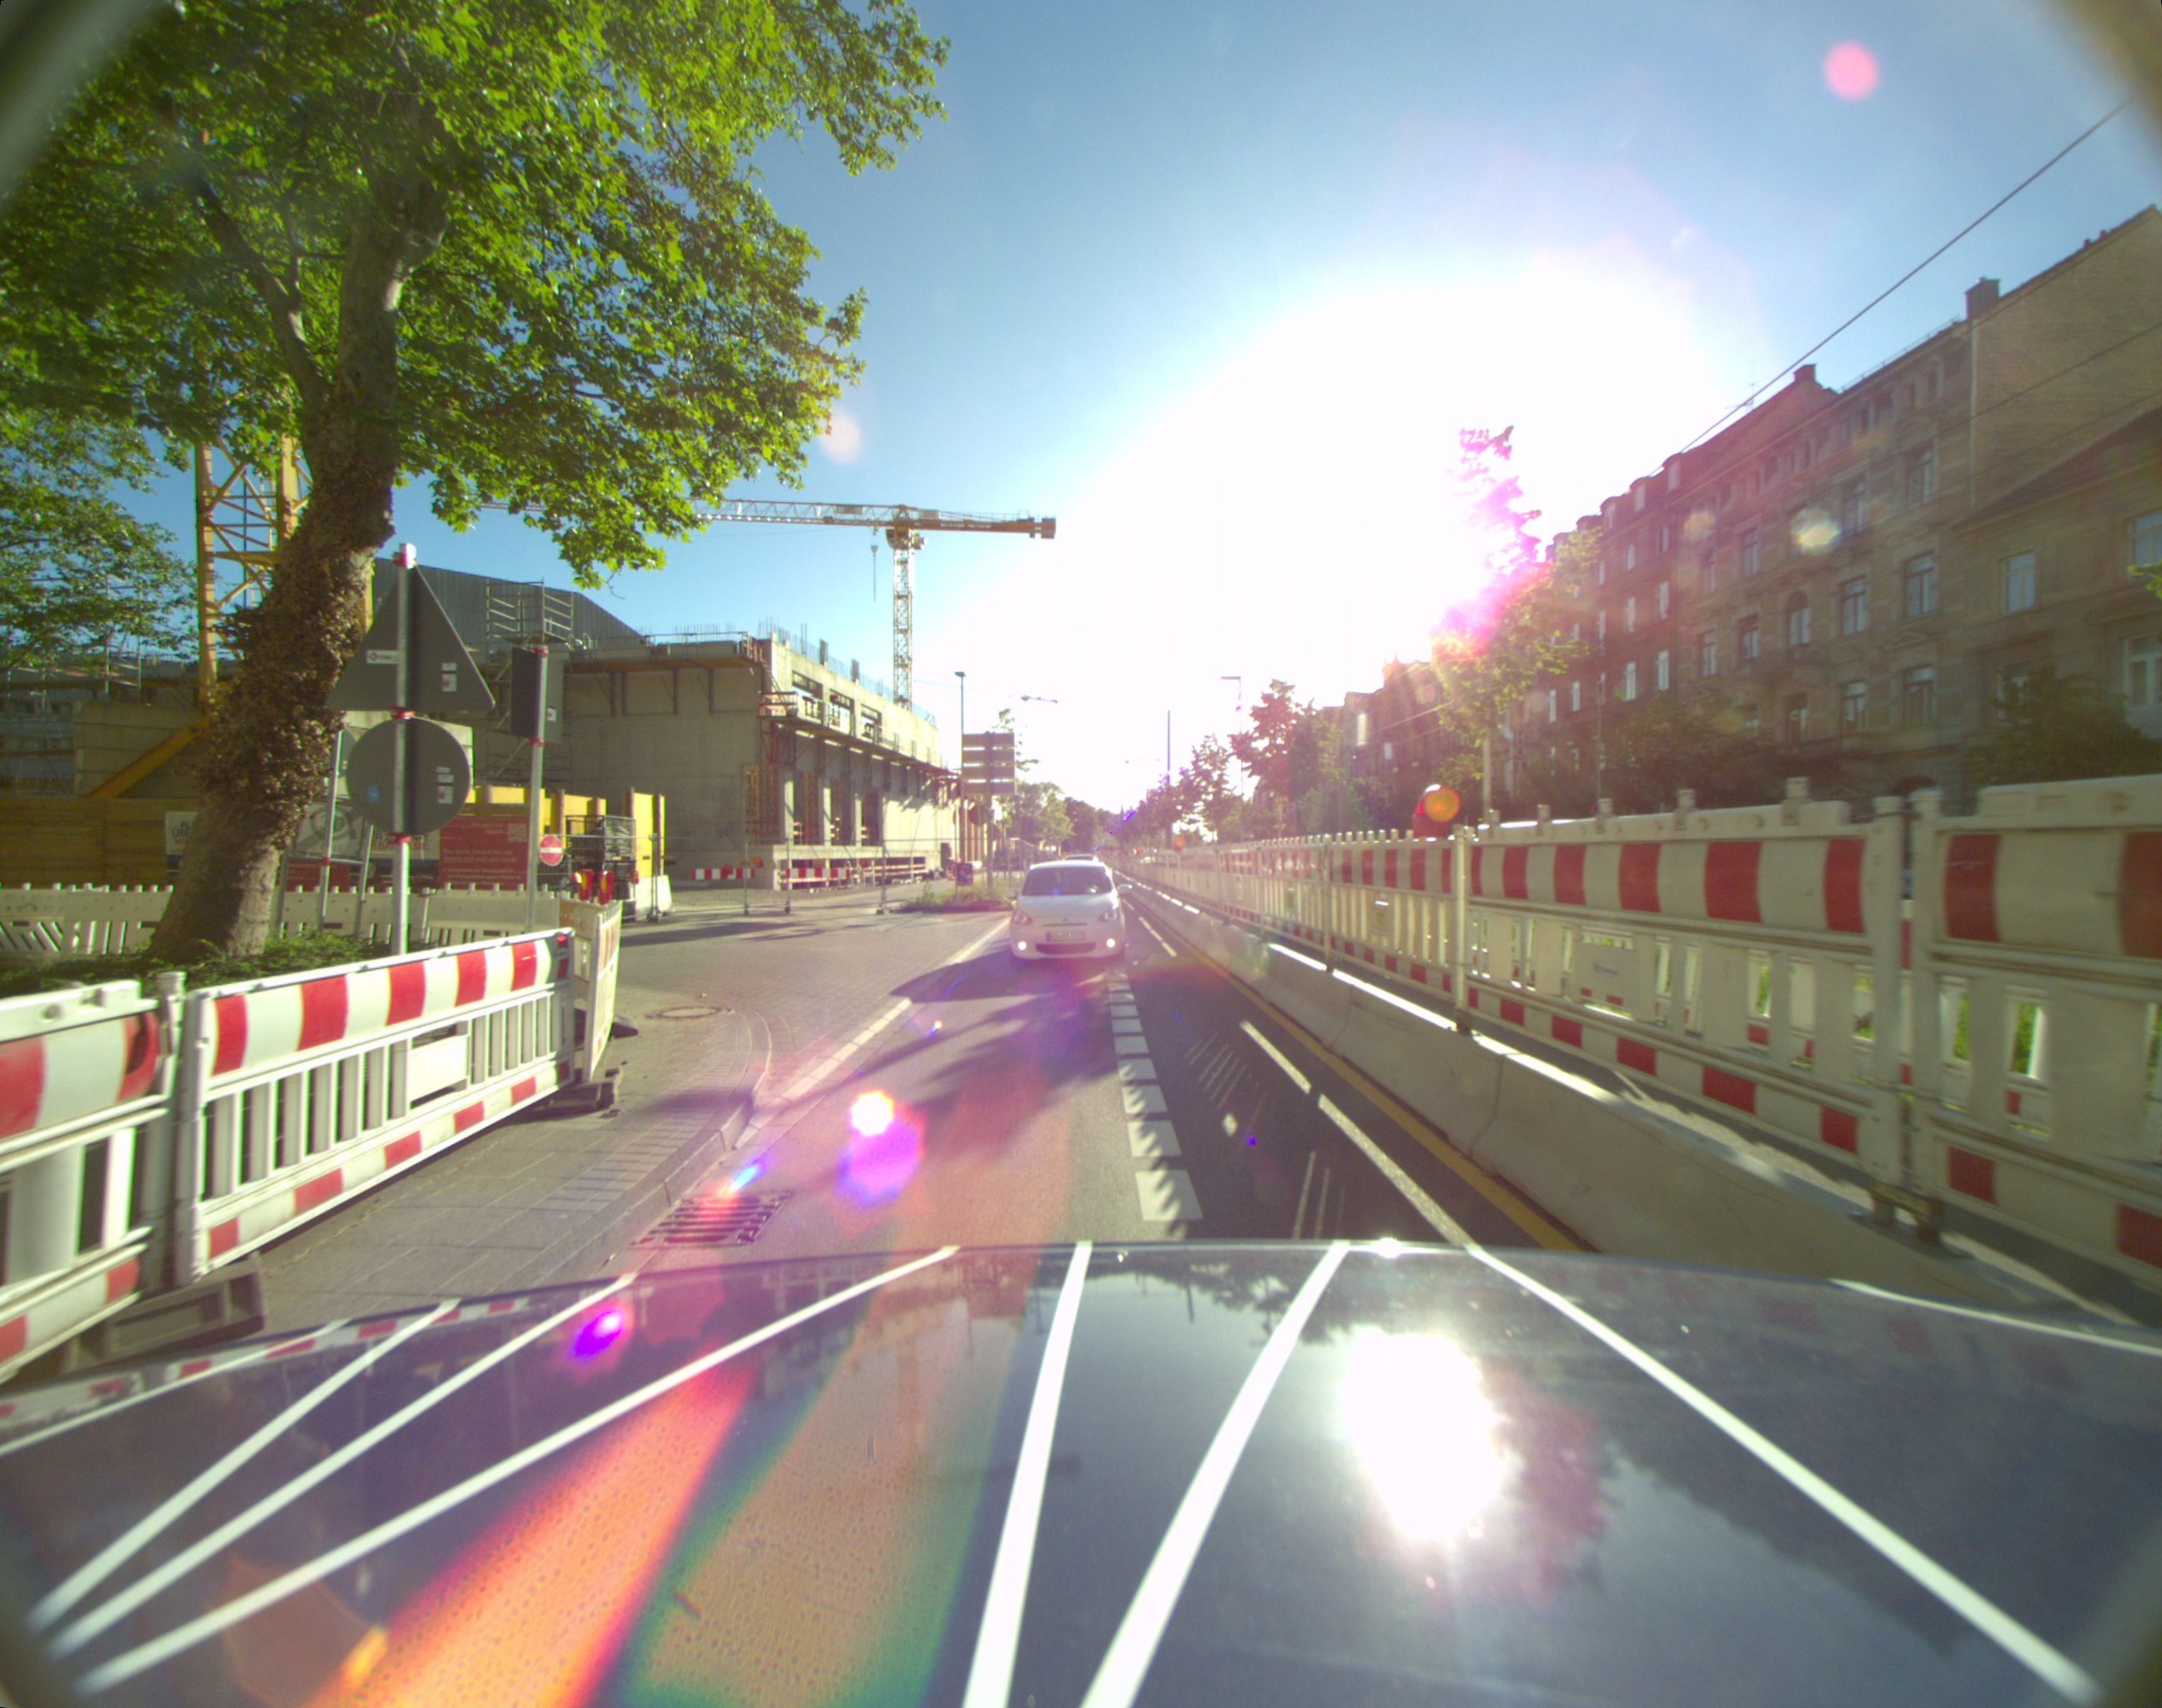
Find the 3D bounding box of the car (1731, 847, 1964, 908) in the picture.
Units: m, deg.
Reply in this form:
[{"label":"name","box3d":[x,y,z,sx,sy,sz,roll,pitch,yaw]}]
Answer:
[{"label":"car","box3d":[22.666,0.619,22.844,1.998,1.529,4.984,-3,1,1]}]

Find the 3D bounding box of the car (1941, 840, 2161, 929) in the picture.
[{"label":"car","box3d":[22.534,0.591,16.568,1.999,1.688,4.887,-3,1,0]}]

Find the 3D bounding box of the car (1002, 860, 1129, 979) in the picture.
[{"label":"car","box3d":[-0.180,0.906,12.405,1.634,1.499,4.350,-3,0,1]}]

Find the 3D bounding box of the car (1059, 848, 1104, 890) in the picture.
[{"label":"car","box3d":[0.028,0.673,36.597,1.900,1.730,3.999,-4,1,0]}]

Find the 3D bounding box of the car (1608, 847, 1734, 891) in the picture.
[{"label":"car","box3d":[22.755,0.528,29.528,1.753,1.471,4.027,-3,1,1]}]
